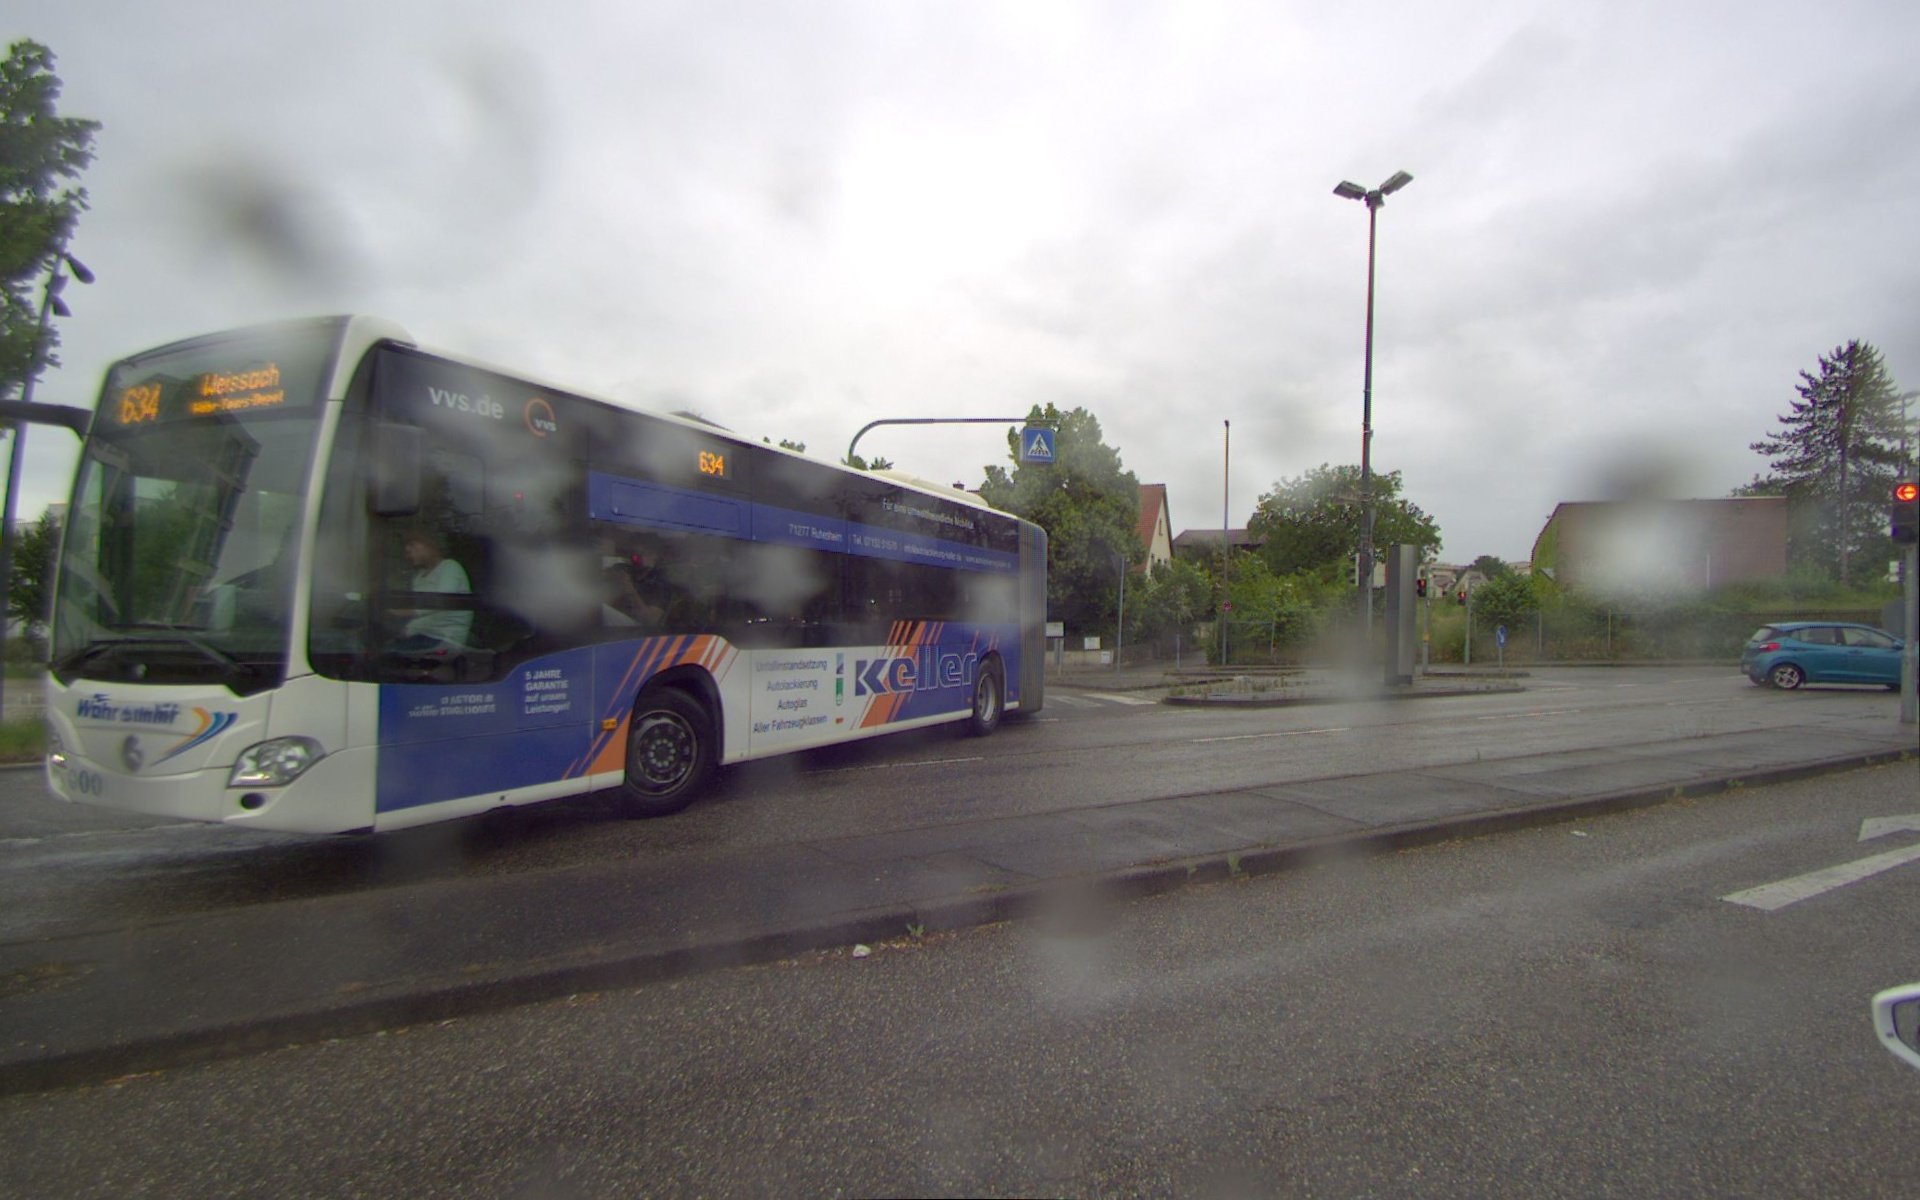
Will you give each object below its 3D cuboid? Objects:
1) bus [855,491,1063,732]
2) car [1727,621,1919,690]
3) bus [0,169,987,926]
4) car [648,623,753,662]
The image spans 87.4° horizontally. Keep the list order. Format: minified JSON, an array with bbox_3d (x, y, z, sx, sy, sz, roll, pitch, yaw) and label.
[{"bbox_3d":[0.269,0.293,17.991,2.730,3.155,9.373,1,-2,4],"label":"bus"},{"bbox_3d":[19.476,1.204,22.259,3.682,1.437,1.764,-1,-2,30],"label":"car"},{"bbox_3d":[-2.635,-0.082,8.821,2.746,3.155,8.882,0,-2,22],"label":"bus"},{"bbox_3d":[-10.382,1.694,40.151,3.925,1.486,1.585,-1,-2,25],"label":"car"}]
